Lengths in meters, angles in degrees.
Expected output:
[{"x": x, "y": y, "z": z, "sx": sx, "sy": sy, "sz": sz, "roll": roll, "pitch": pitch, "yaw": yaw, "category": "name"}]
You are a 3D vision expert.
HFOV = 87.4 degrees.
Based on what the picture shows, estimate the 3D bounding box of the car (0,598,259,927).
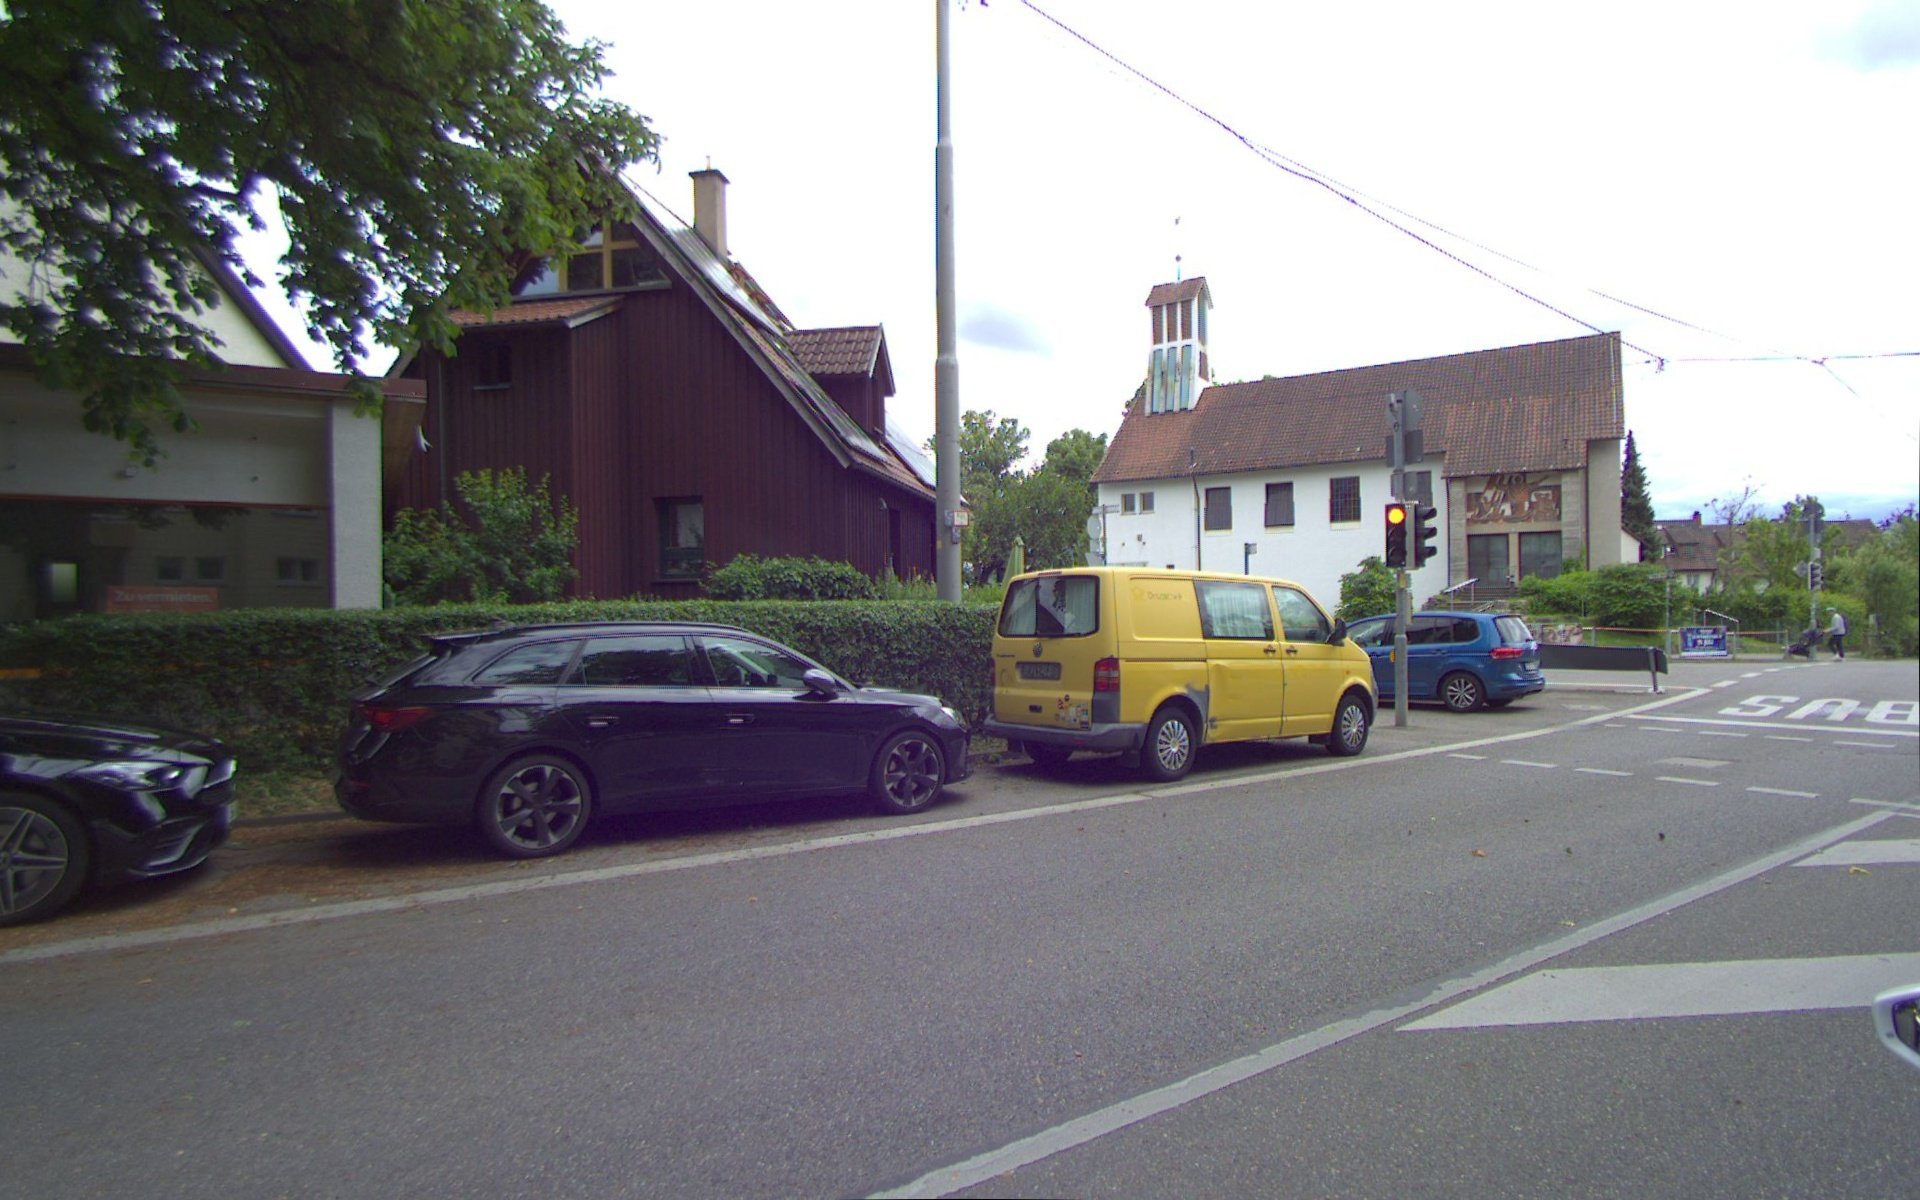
[{"x": -6.213, "y": 0.761, "z": 4.757, "sx": 4.561, "sy": 1.520, "sz": 1.984, "roll": 1, "pitch": -2, "yaw": -31, "category": "car"}]

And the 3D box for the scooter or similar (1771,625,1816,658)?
[{"x": 27.538, "y": 1.361, "z": 33.185, "sx": 1.093, "sy": 1.095, "sz": 0.575, "roll": -1, "pitch": -1, "yaw": 37, "category": "scooter or similar"}]

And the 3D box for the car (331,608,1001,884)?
[{"x": -1.996, "y": 0.843, "z": 7.441, "sx": 4.494, "sy": 1.505, "sz": 1.681, "roll": 1, "pitch": -2, "yaw": -34, "category": "car"}]

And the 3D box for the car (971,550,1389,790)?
[{"x": 2.461, "y": 0.645, "z": 10.685, "sx": 4.523, "sy": 2.040, "sz": 1.870, "roll": 1, "pitch": -2, "yaw": -37, "category": "car"}]

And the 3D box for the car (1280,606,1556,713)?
[{"x": 7.813, "y": 0.988, "z": 17.368, "sx": 1.806, "sy": 1.632, "sz": 3.948, "roll": 1, "pitch": -3, "yaw": -44, "category": "car"}]

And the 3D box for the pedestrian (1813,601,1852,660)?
[{"x": 28.327, "y": 0.973, "z": 32.629, "sx": 0.872, "sy": 1.887, "sz": 0.572, "roll": -1, "pitch": -1, "yaw": 37, "category": "pedestrian"}]
